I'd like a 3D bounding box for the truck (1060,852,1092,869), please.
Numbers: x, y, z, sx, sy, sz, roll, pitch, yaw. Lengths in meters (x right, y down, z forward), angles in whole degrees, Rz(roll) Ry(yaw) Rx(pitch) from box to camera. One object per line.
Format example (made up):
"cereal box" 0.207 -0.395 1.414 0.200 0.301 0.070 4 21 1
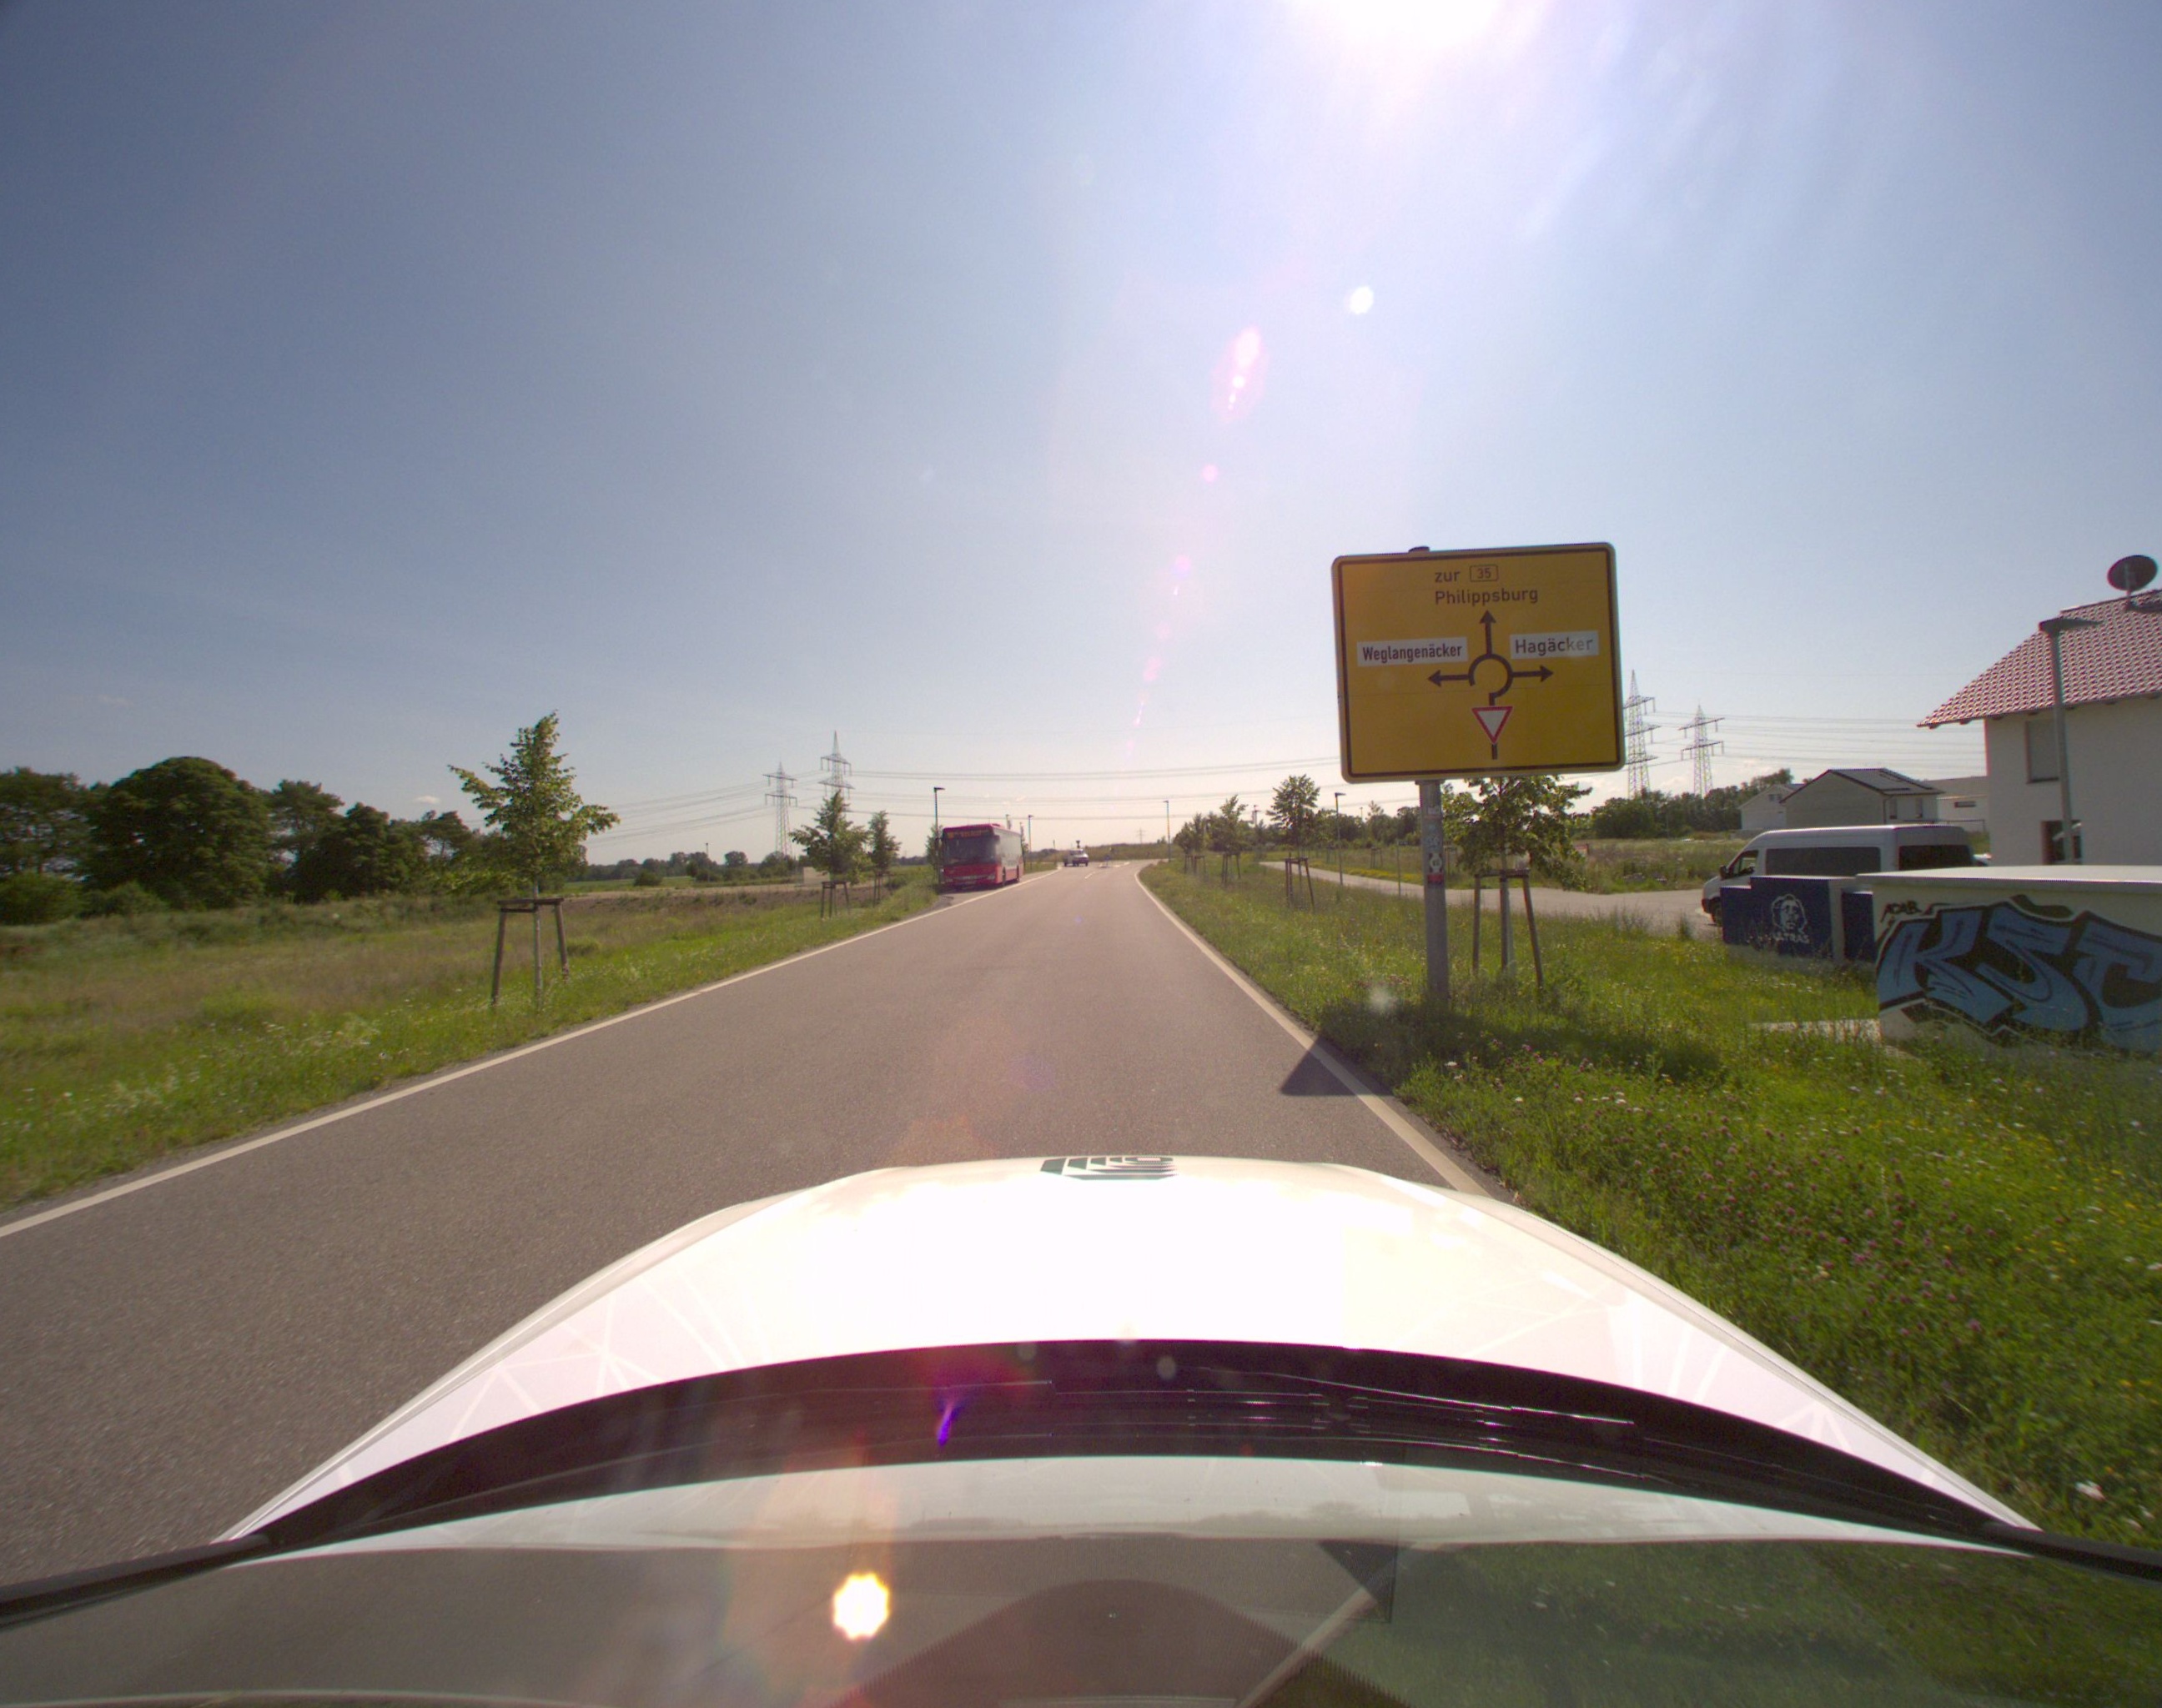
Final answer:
"truck" -0.617 0.739 96.318 1.958 1.985 5.606 0 -1 -20

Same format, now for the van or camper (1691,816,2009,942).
"van or camper" 18.491 0.561 20.204 2.165 2.601 6.030 -1 -1 1

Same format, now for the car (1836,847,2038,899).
"car" 28.195 0.601 27.066 1.560 1.557 4.468 0 -1 -13

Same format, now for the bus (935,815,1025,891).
"bus" -4.969 -0.006 42.947 2.784 3.287 12.231 -3 -1 1
